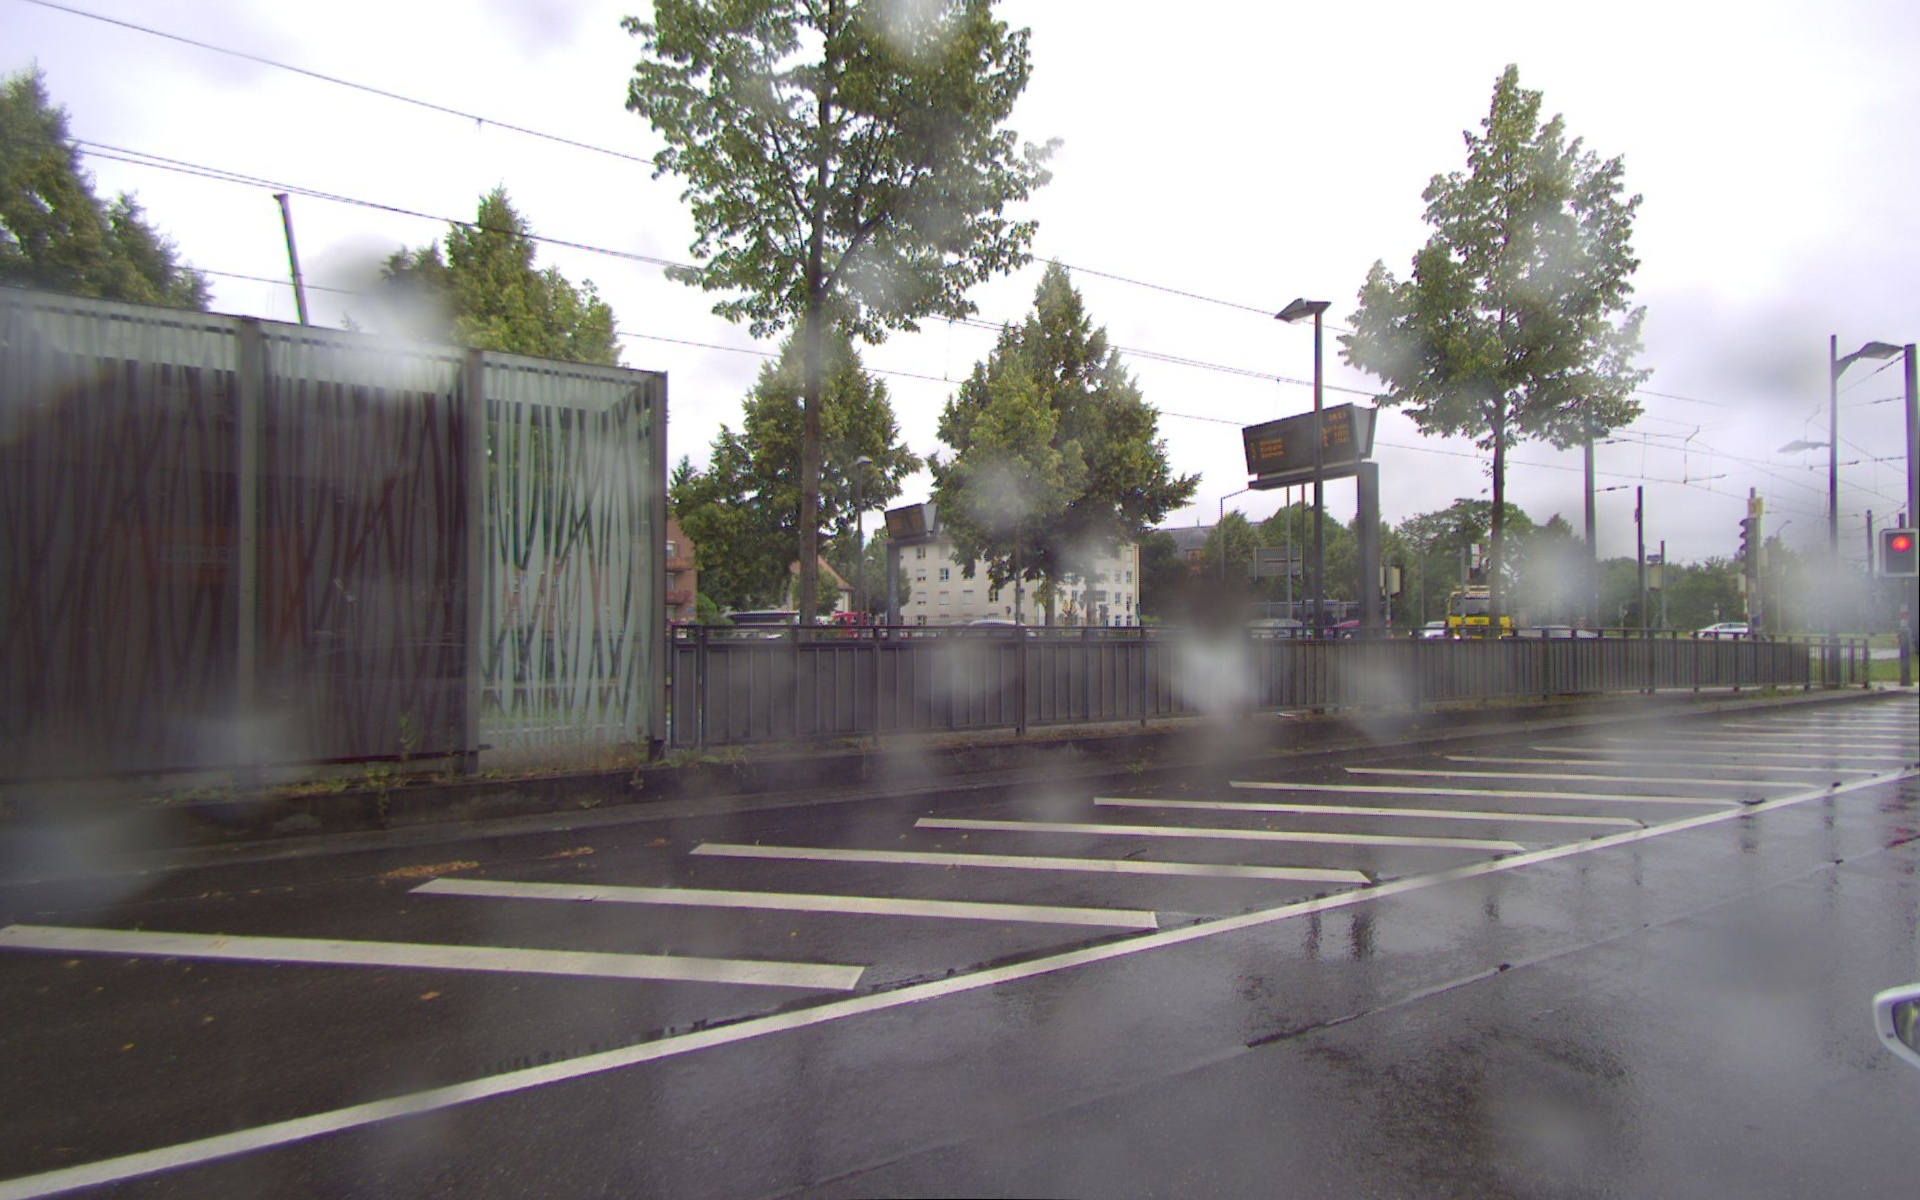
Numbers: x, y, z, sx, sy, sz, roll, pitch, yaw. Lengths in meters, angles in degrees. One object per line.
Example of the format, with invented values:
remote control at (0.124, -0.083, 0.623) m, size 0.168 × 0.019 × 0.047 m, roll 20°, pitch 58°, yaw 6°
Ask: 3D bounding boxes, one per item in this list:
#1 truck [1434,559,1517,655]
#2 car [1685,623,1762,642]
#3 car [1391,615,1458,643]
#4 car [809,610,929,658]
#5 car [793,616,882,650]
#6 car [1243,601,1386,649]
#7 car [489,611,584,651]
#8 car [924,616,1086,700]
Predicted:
truck at (22.979, 0.287, 45.152) m, size 2.644 × 3.828 × 9.177 m, roll 2°, pitch 0°, yaw 23°
car at (60.118, 2.555, 79.187) m, size 4.530 × 1.473 × 1.624 m, roll -1°, pitch -1°, yaw 17°
car at (28.057, 1.735, 60.792) m, size 1.961 × 1.649 × 4.403 m, roll 0°, pitch -1°, yaw -1°
car at (-4.987, 1.839, 55.395) m, size 6.390 × 2.503 × 1.616 m, roll 0°, pitch -1°, yaw -21°
car at (-8.588, 2.271, 70.314) m, size 6.005 × 2.308 × 1.617 m, roll 0°, pitch -1°, yaw -19°
car at (29.008, 2.083, 82.495) m, size 10.742 × 3.769 × 2.459 m, roll -1°, pitch -2°, yaw 3°
car at (-27.848, 2.024, 66.168) m, size 5.442 × 2.486 × 1.979 m, roll 1°, pitch 0°, yaw -36°
car at (1.202, 1.454, 26.367) m, size 3.953 × 2.040 × 1.749 m, roll 1°, pitch -1°, yaw -30°
